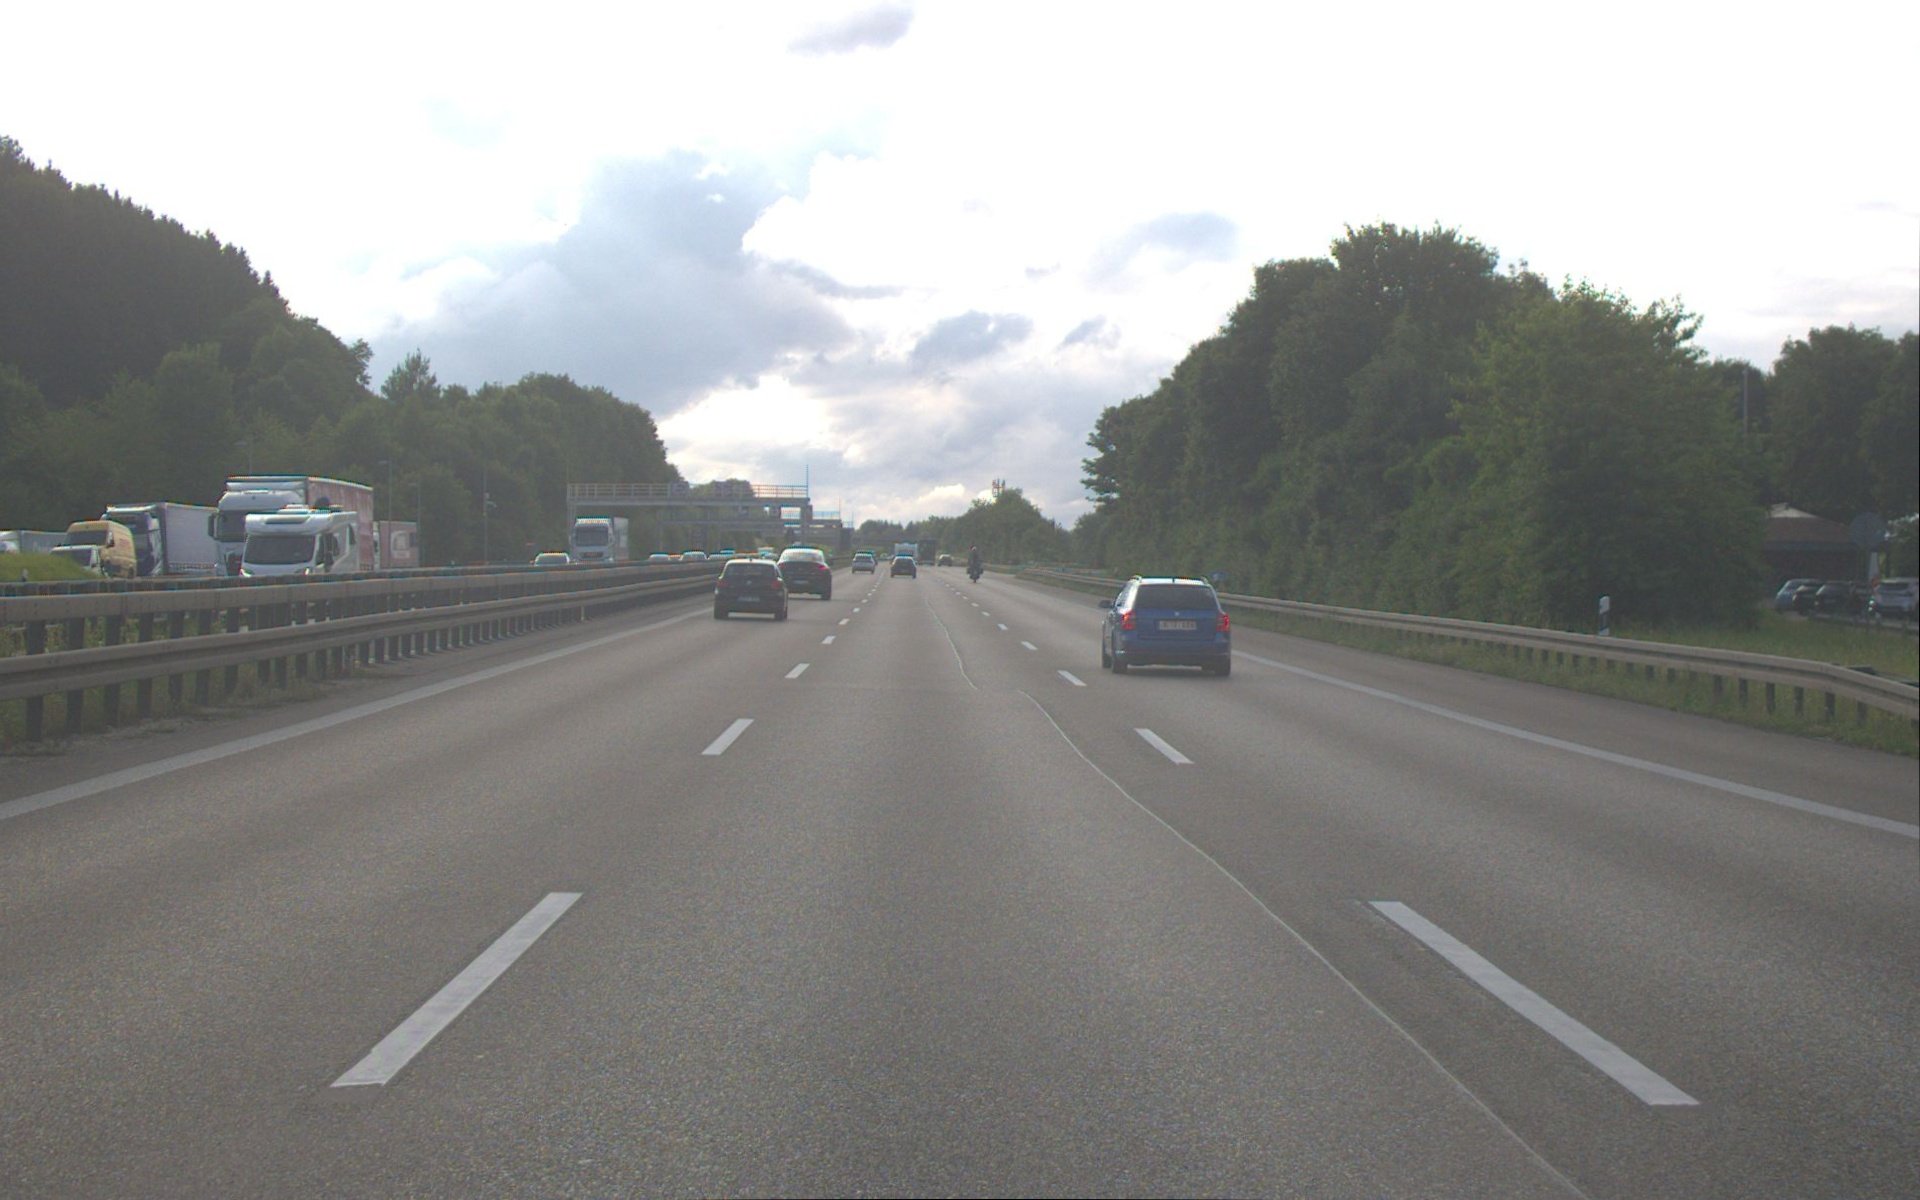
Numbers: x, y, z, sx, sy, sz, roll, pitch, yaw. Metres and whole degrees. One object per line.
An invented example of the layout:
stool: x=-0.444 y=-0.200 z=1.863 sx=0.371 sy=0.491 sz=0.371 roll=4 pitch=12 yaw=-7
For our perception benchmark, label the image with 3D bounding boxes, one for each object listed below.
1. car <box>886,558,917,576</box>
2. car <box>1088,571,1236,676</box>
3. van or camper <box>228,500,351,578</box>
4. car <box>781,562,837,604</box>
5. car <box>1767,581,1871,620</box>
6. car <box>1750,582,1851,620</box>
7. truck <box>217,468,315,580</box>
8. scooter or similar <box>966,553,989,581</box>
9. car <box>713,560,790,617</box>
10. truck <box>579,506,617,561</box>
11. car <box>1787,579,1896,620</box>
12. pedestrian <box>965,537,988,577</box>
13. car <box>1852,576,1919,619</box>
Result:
car: x=-4.082 y=-2.274 z=239.041 sx=1.750 sy=1.218 sz=4.001 roll=-2 pitch=1 yaw=-6
car: x=2.983 y=0.318 z=51.397 sx=1.766 sy=1.428 sz=4.000 roll=2 pitch=1 yaw=-2
van or camper: x=-17.444 y=-1.579 z=89.643 sx=2.078 sy=1.923 sz=4.344 roll=-2 pitch=1 yaw=3
car: x=-5.171 y=-0.604 z=118.208 sx=1.565 sy=1.376 sz=4.000 roll=-2 pitch=1 yaw=2
car: x=35.065 y=0.023 z=140.301 sx=4.297 sy=1.550 sz=1.989 roll=0 pitch=-1 yaw=-41
car: x=35.306 y=0.052 z=144.300 sx=4.297 sy=1.550 sz=1.989 roll=0 pitch=-1 yaw=-41
truck: x=-22.415 y=-2.401 z=111.261 sx=1.993 sy=3.402 sz=6.739 roll=-1 pitch=-1 yaw=-2
scooter or similar: x=1.062 y=-2.048 z=214.609 sx=1.303 sy=1.667 sz=3.901 roll=-2 pitch=1 yaw=-1
car: x=-4.982 y=-0.279 z=82.497 sx=1.538 sy=1.343 sz=3.677 roll=0 pitch=0 yaw=1
truck: x=-23.977 y=-4.374 z=227.941 sx=1.993 sy=3.402 sz=6.739 roll=-1 pitch=-1 yaw=-2
car: x=34.157 y=-0.026 z=133.146 sx=4.297 sy=1.550 sz=1.989 roll=0 pitch=-1 yaw=-41
pedestrian: x=1.034 y=-2.690 z=214.353 sx=1.293 sy=2.444 sz=1.336 roll=-2 pitch=0 yaw=-1
car: x=34.920 y=-0.087 z=126.405 sx=4.297 sy=1.550 sz=1.989 roll=0 pitch=-1 yaw=-41
